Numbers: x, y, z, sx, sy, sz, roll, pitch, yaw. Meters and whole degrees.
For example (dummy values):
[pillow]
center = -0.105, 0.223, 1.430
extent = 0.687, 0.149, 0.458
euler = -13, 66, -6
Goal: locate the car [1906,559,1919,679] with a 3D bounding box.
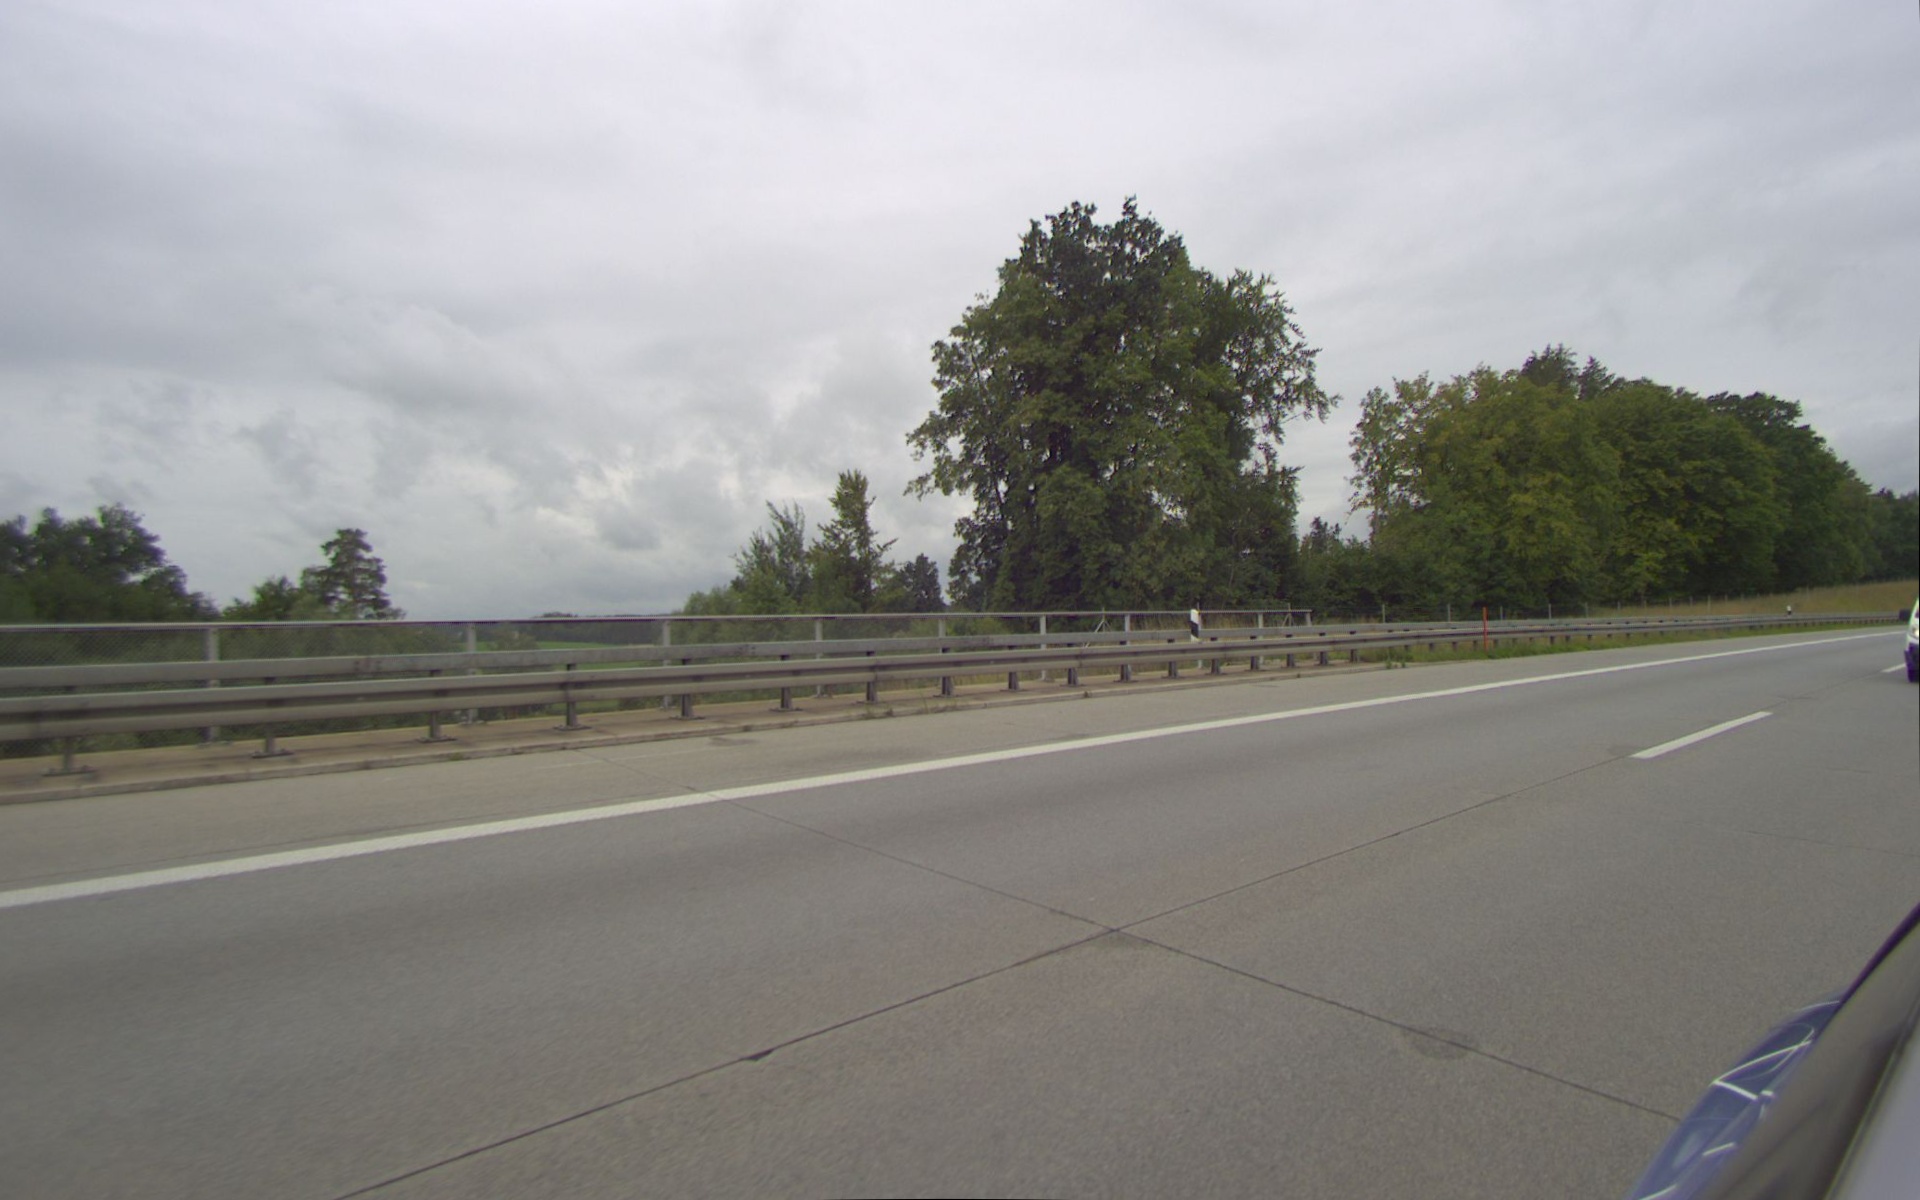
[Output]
[car]
center = 19.965, 0.318, 19.348
extent = 5.960, 2.151, 2.042
euler = -1, 0, -40
